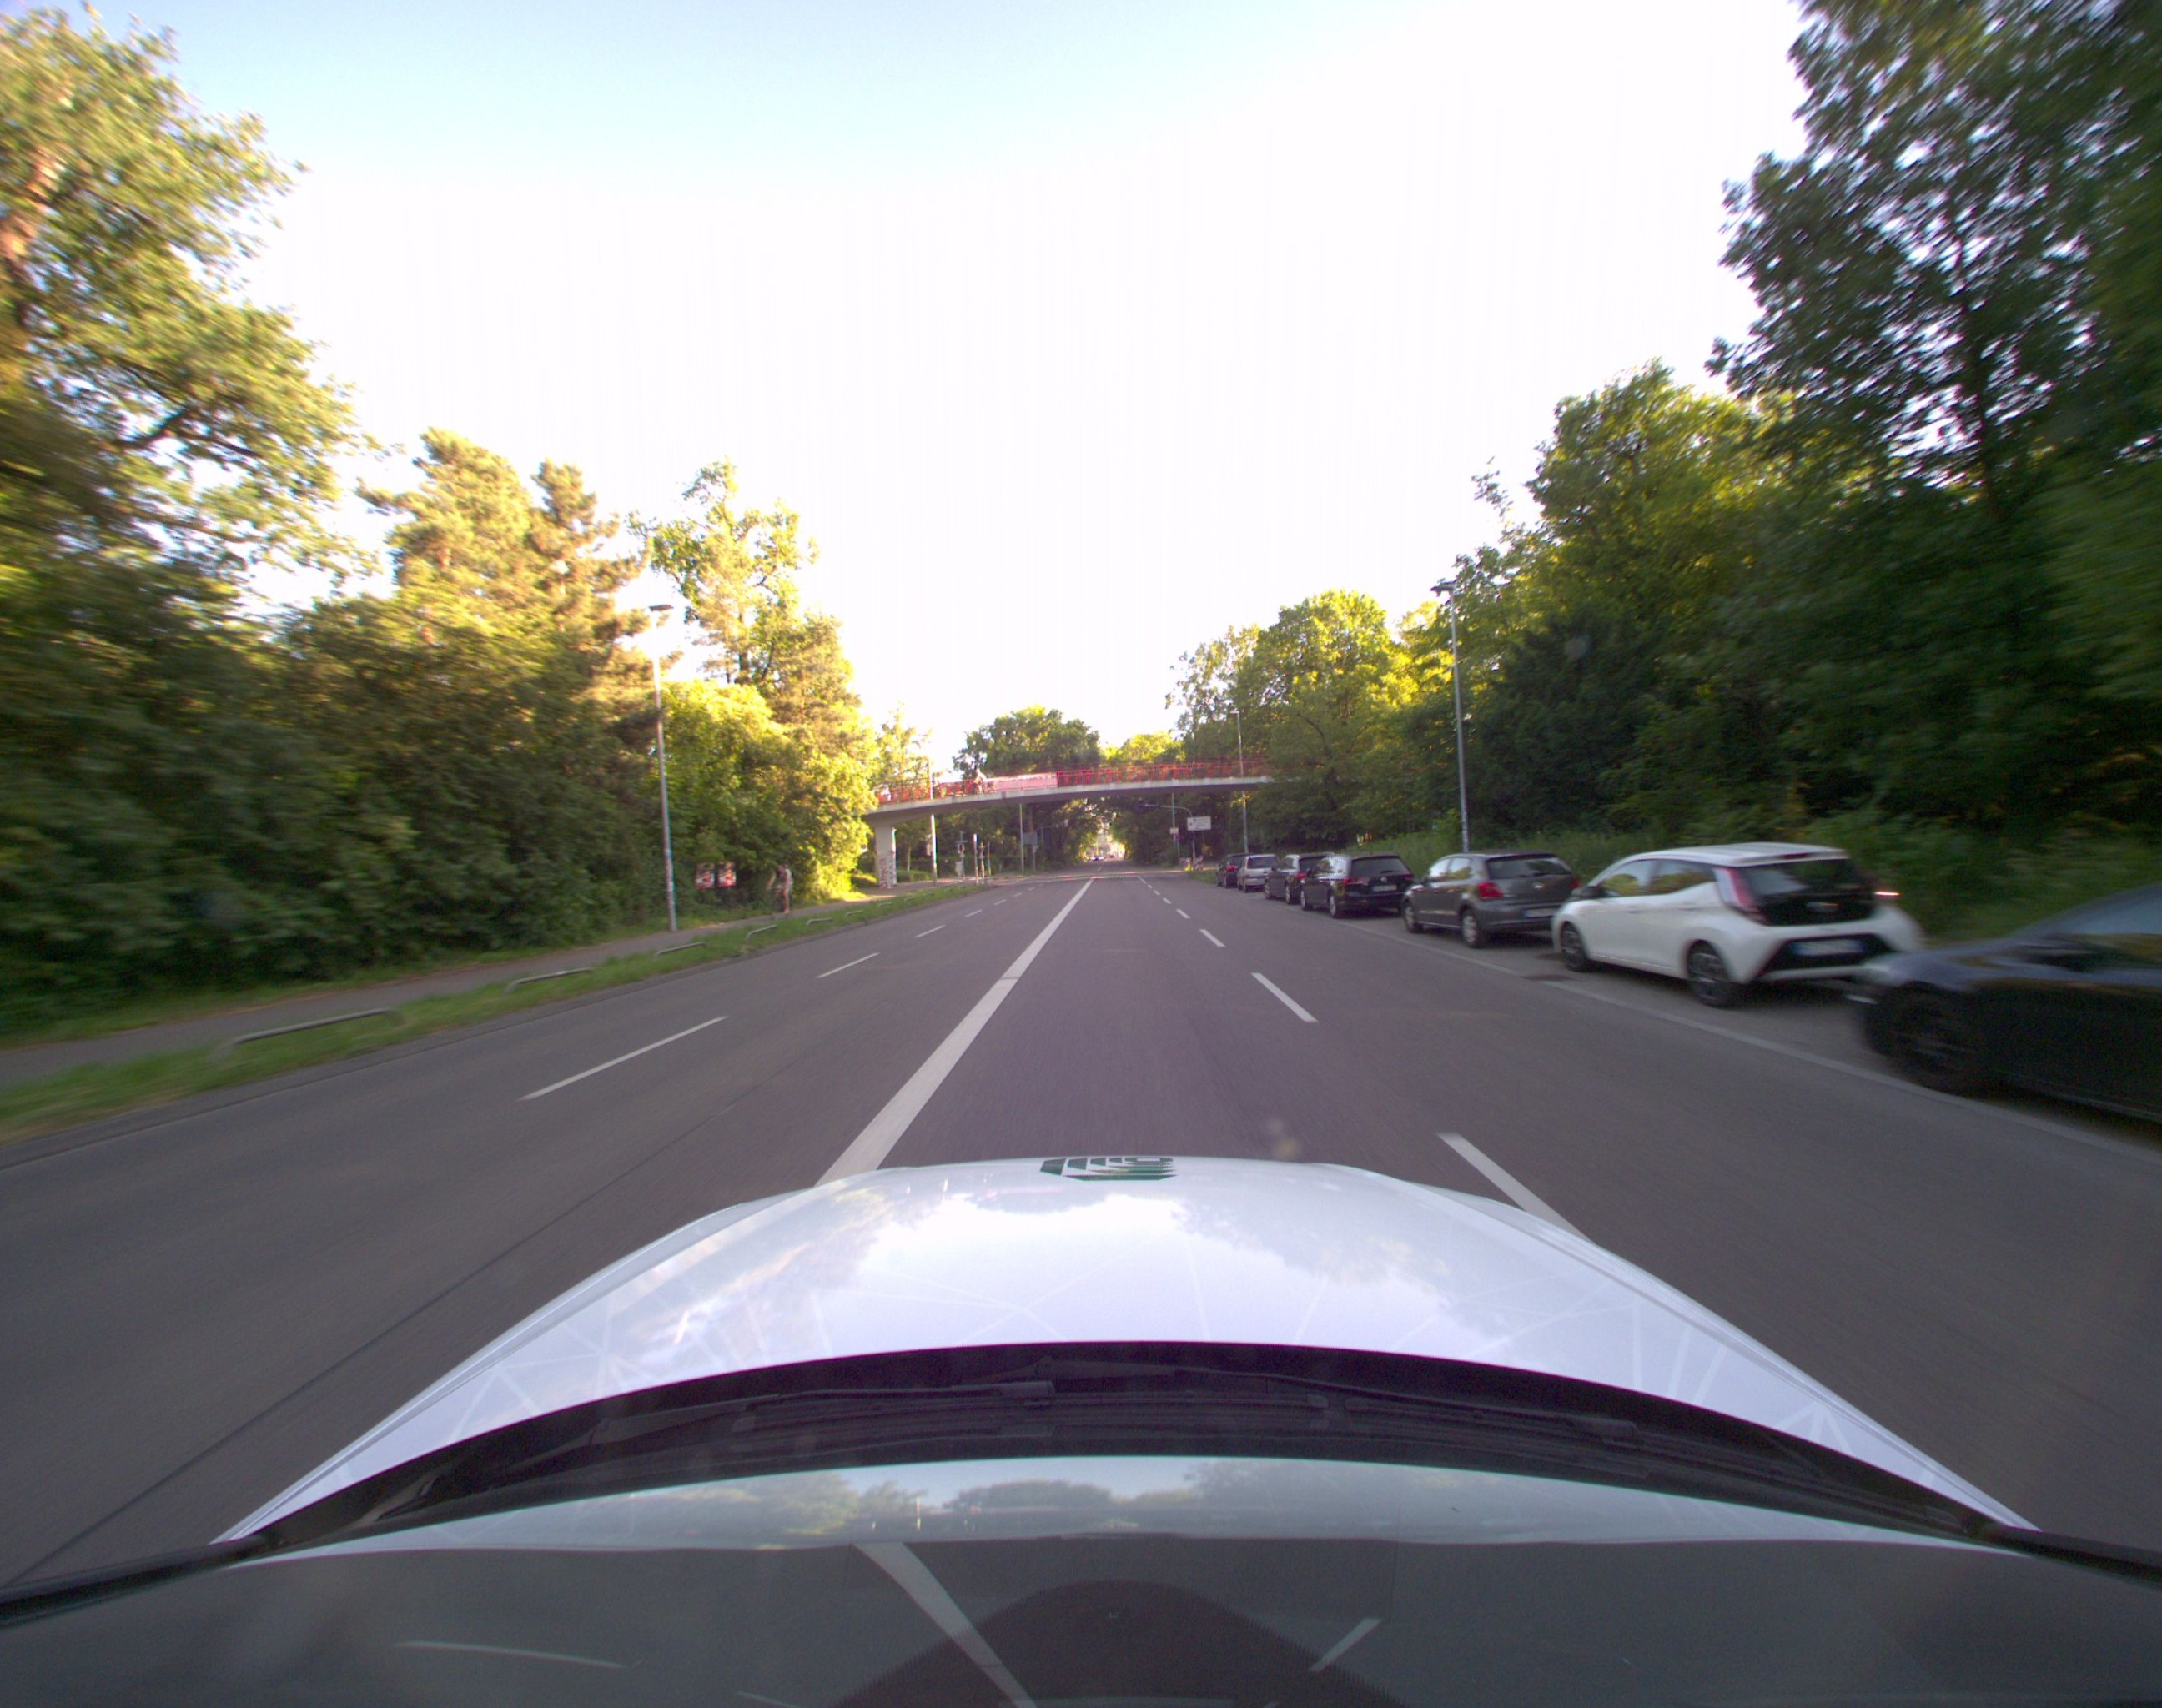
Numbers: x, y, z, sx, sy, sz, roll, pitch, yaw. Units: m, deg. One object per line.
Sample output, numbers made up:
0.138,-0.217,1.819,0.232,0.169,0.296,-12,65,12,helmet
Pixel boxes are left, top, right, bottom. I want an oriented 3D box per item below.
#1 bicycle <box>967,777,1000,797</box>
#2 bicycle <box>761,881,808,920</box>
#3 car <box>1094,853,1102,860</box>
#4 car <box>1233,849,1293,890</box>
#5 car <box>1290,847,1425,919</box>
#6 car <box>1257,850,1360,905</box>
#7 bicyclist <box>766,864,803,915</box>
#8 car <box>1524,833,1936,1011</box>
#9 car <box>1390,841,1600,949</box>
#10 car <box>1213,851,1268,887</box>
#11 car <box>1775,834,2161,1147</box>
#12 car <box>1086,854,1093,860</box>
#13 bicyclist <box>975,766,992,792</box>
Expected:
-6.195,-4.240,51.812,1.980,1.147,0.714,-1,-1,0,bicycle
-9.460,1.470,26.041,0.709,1.147,1.994,-1,-1,2,bicycle
4.025,0.594,195.771,1.881,1.506,4.365,-3,0,1,car
7.278,0.597,32.905,1.766,1.453,4.019,-4,0,5,car
6.572,0.640,19.986,1.631,1.453,4.898,-3,0,1,car
6.946,0.671,25.416,1.768,1.453,5.038,-3,0,1,car
-9.466,1.116,26.046,0.709,1.559,1.143,-1,-1,2,bicyclist
6.628,0.598,8.932,1.579,1.453,3.801,-4,0,3,car
6.666,0.591,13.616,1.579,1.453,3.946,-4,0,3,car
7.233,0.640,37.319,1.767,1.453,4.391,-4,0,3,car
6.002,0.627,3.801,1.861,1.406,4.371,-4,0,2,car
2.442,0.864,232.696,1.791,1.506,4.365,-3,0,1,car
-6.195,-4.759,51.827,0.967,1.586,0.714,-1,-1,0,bicyclist
